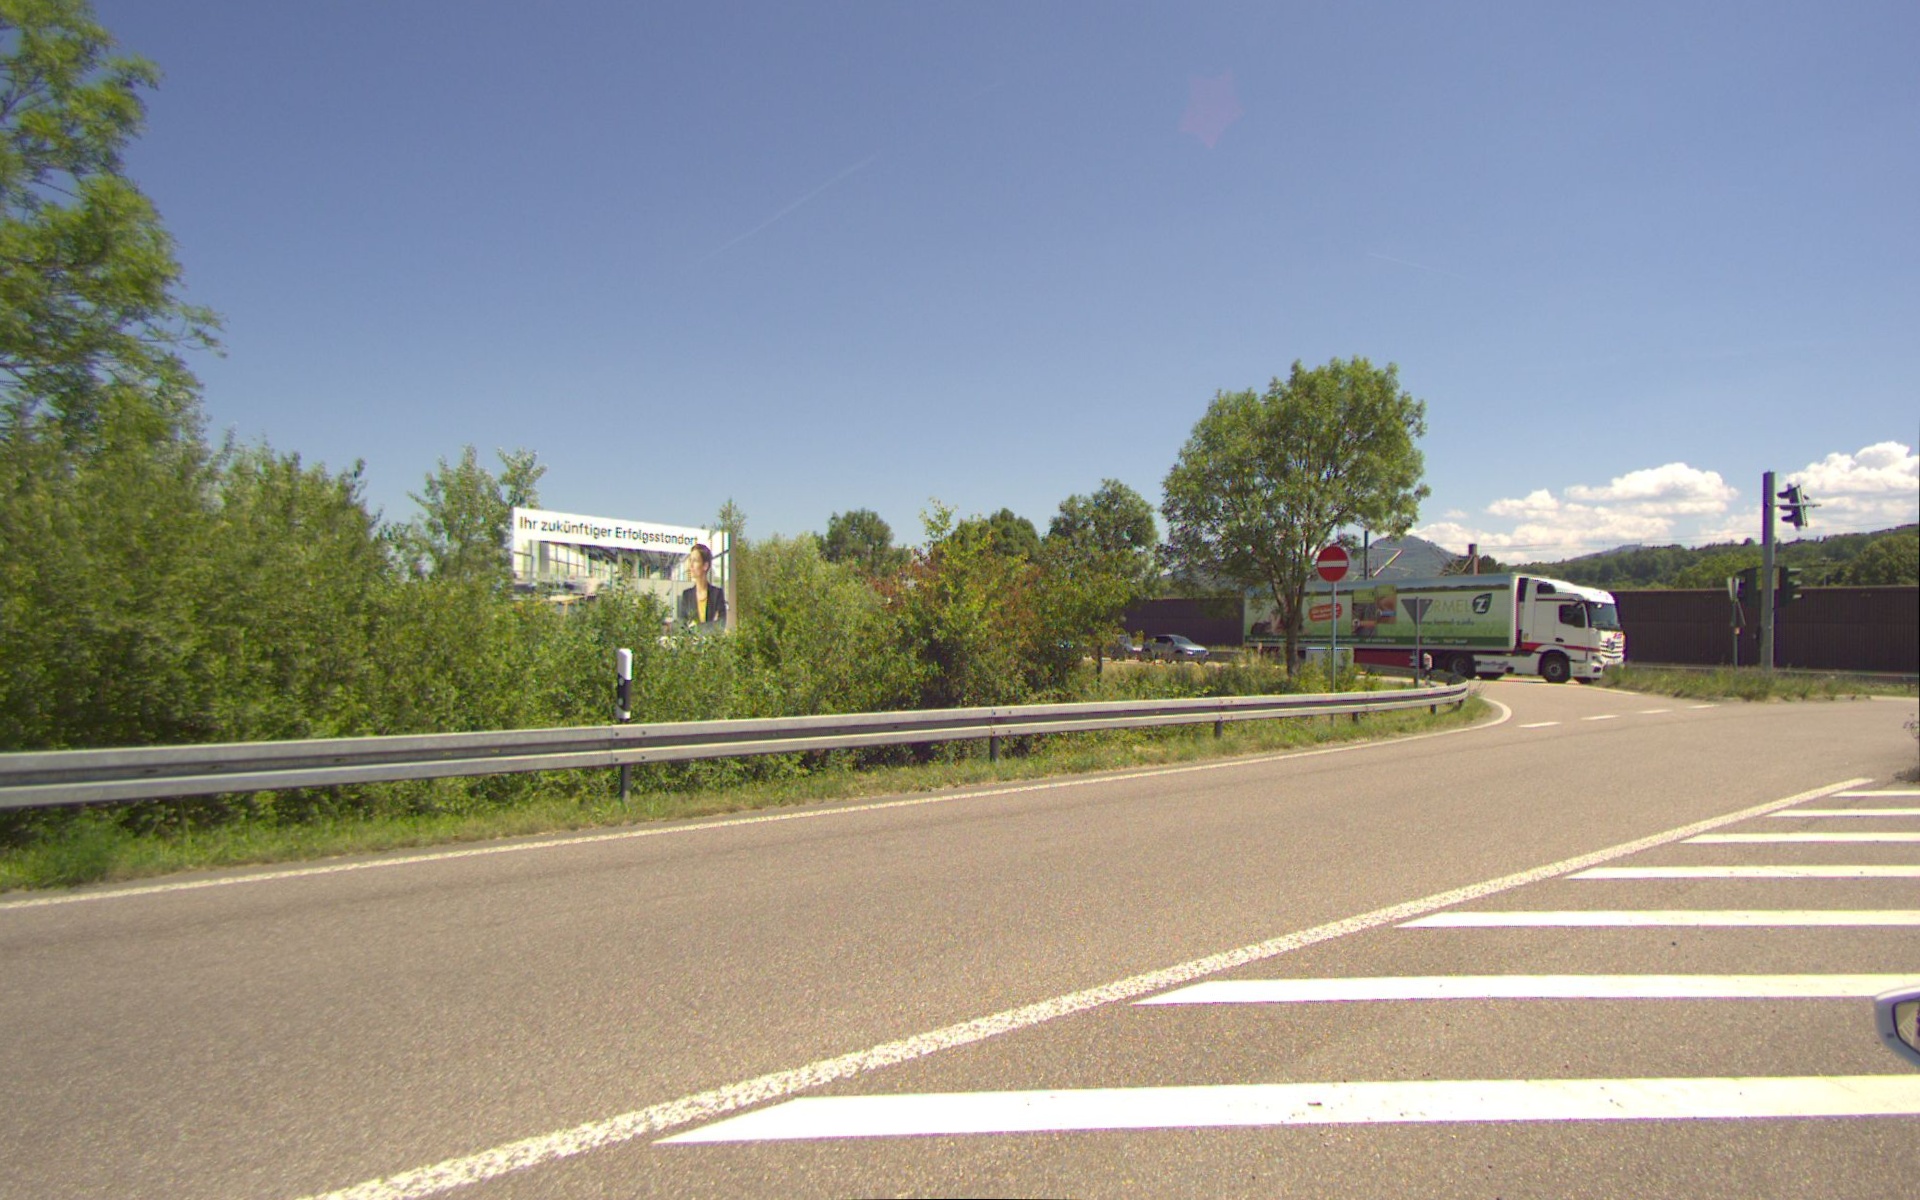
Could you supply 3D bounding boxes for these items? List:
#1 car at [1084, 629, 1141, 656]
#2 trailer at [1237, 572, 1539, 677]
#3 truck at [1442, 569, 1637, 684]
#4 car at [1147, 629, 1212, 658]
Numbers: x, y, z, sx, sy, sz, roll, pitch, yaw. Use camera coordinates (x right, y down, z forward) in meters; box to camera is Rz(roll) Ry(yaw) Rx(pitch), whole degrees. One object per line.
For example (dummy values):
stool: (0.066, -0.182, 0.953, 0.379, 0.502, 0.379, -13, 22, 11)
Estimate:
car: (9.099, 2.554, 60.129, 1.537, 1.484, 3.455, 2, -1, -31)
trailer: (18.295, 1.023, 44.648, 3.027, 4.006, 13.074, 2, -1, -31)
truck: (22.007, 0.993, 38.425, 3.028, 4.006, 5.735, 2, -1, -31)
car: (12.002, 2.374, 55.080, 1.537, 1.484, 3.455, 2, -1, -31)
